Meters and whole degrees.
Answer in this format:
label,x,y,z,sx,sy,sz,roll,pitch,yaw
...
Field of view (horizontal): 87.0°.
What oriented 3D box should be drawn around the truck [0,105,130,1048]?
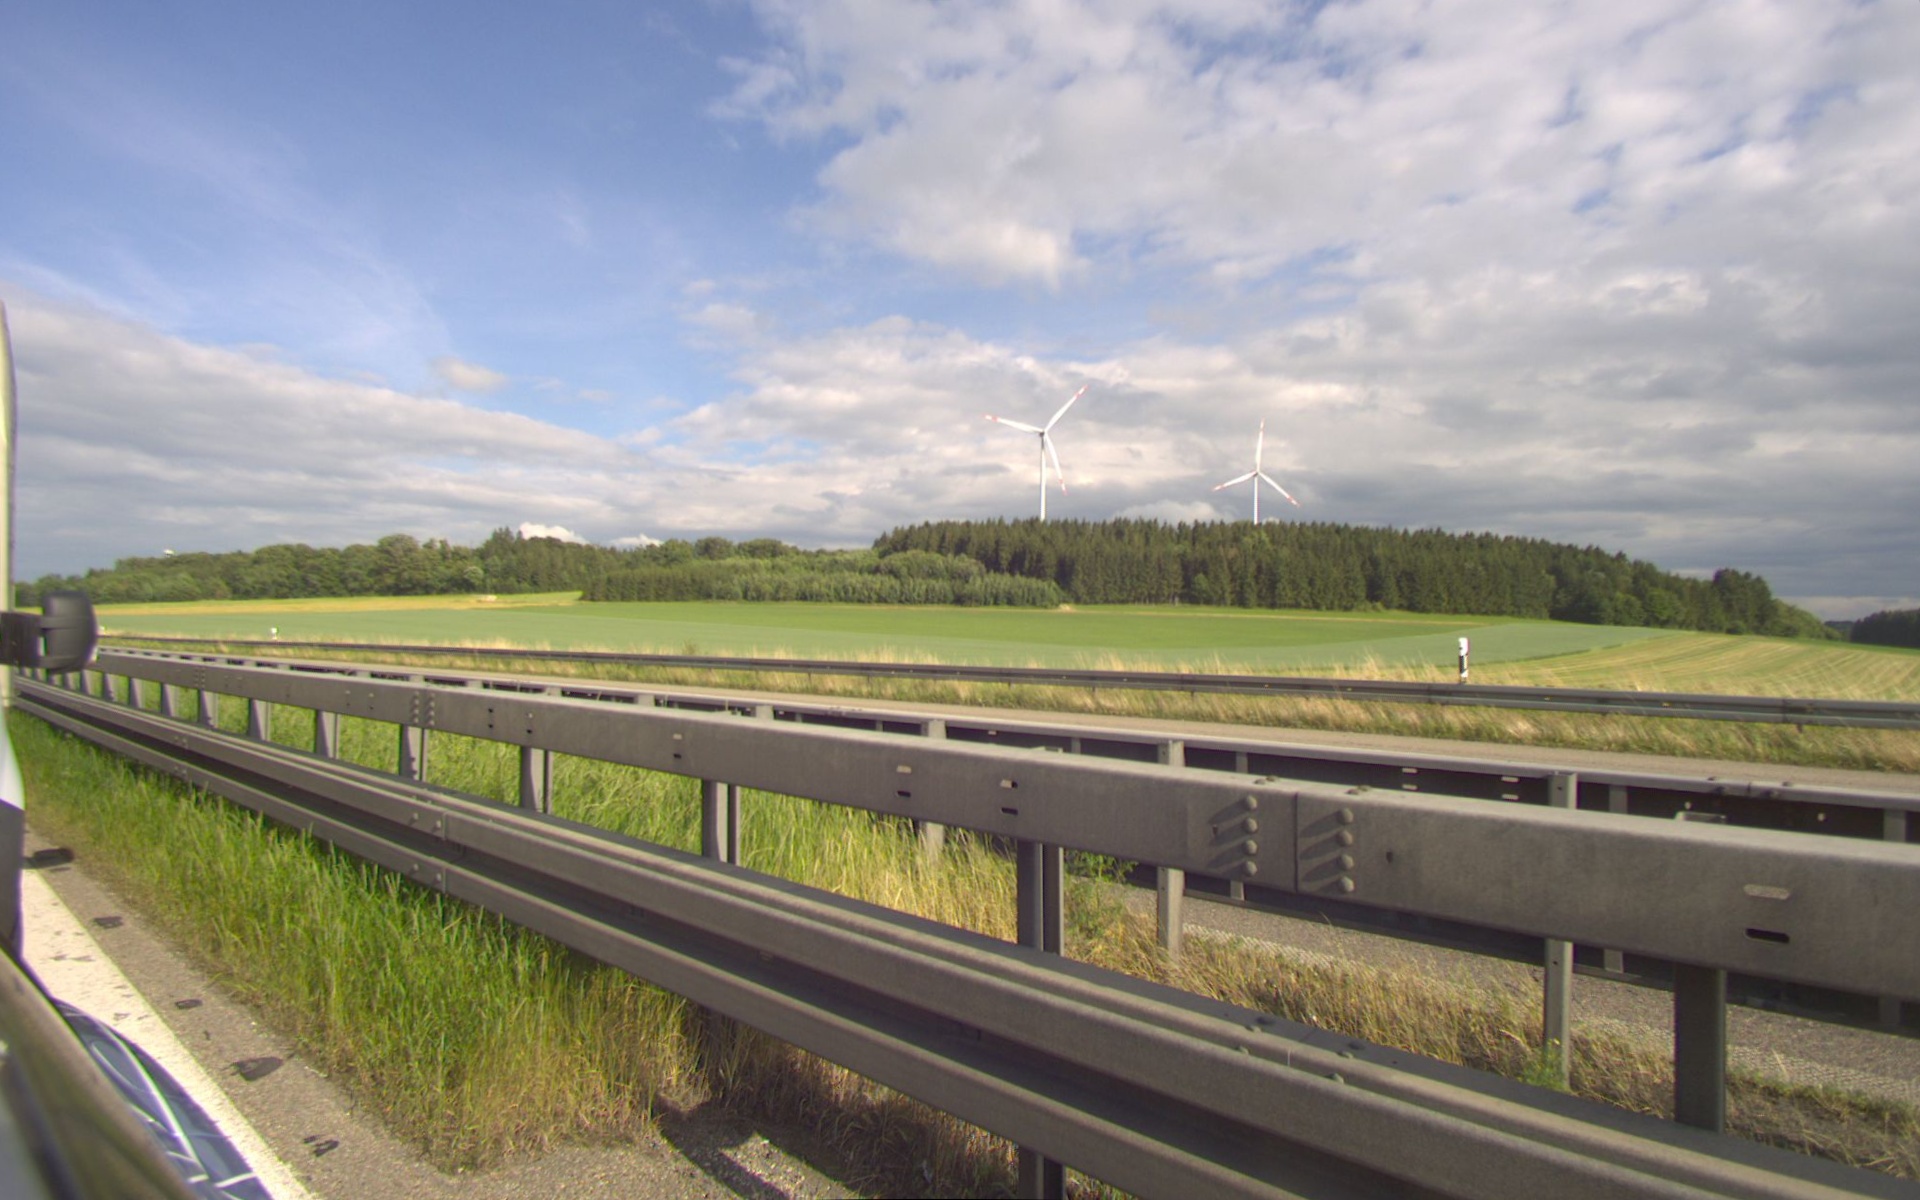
label,x,y,z,sx,sy,sz,roll,pitch,yaw
truck,-8.050,0.032,6.344,11.155,3.183,2.470,-2,-1,40
